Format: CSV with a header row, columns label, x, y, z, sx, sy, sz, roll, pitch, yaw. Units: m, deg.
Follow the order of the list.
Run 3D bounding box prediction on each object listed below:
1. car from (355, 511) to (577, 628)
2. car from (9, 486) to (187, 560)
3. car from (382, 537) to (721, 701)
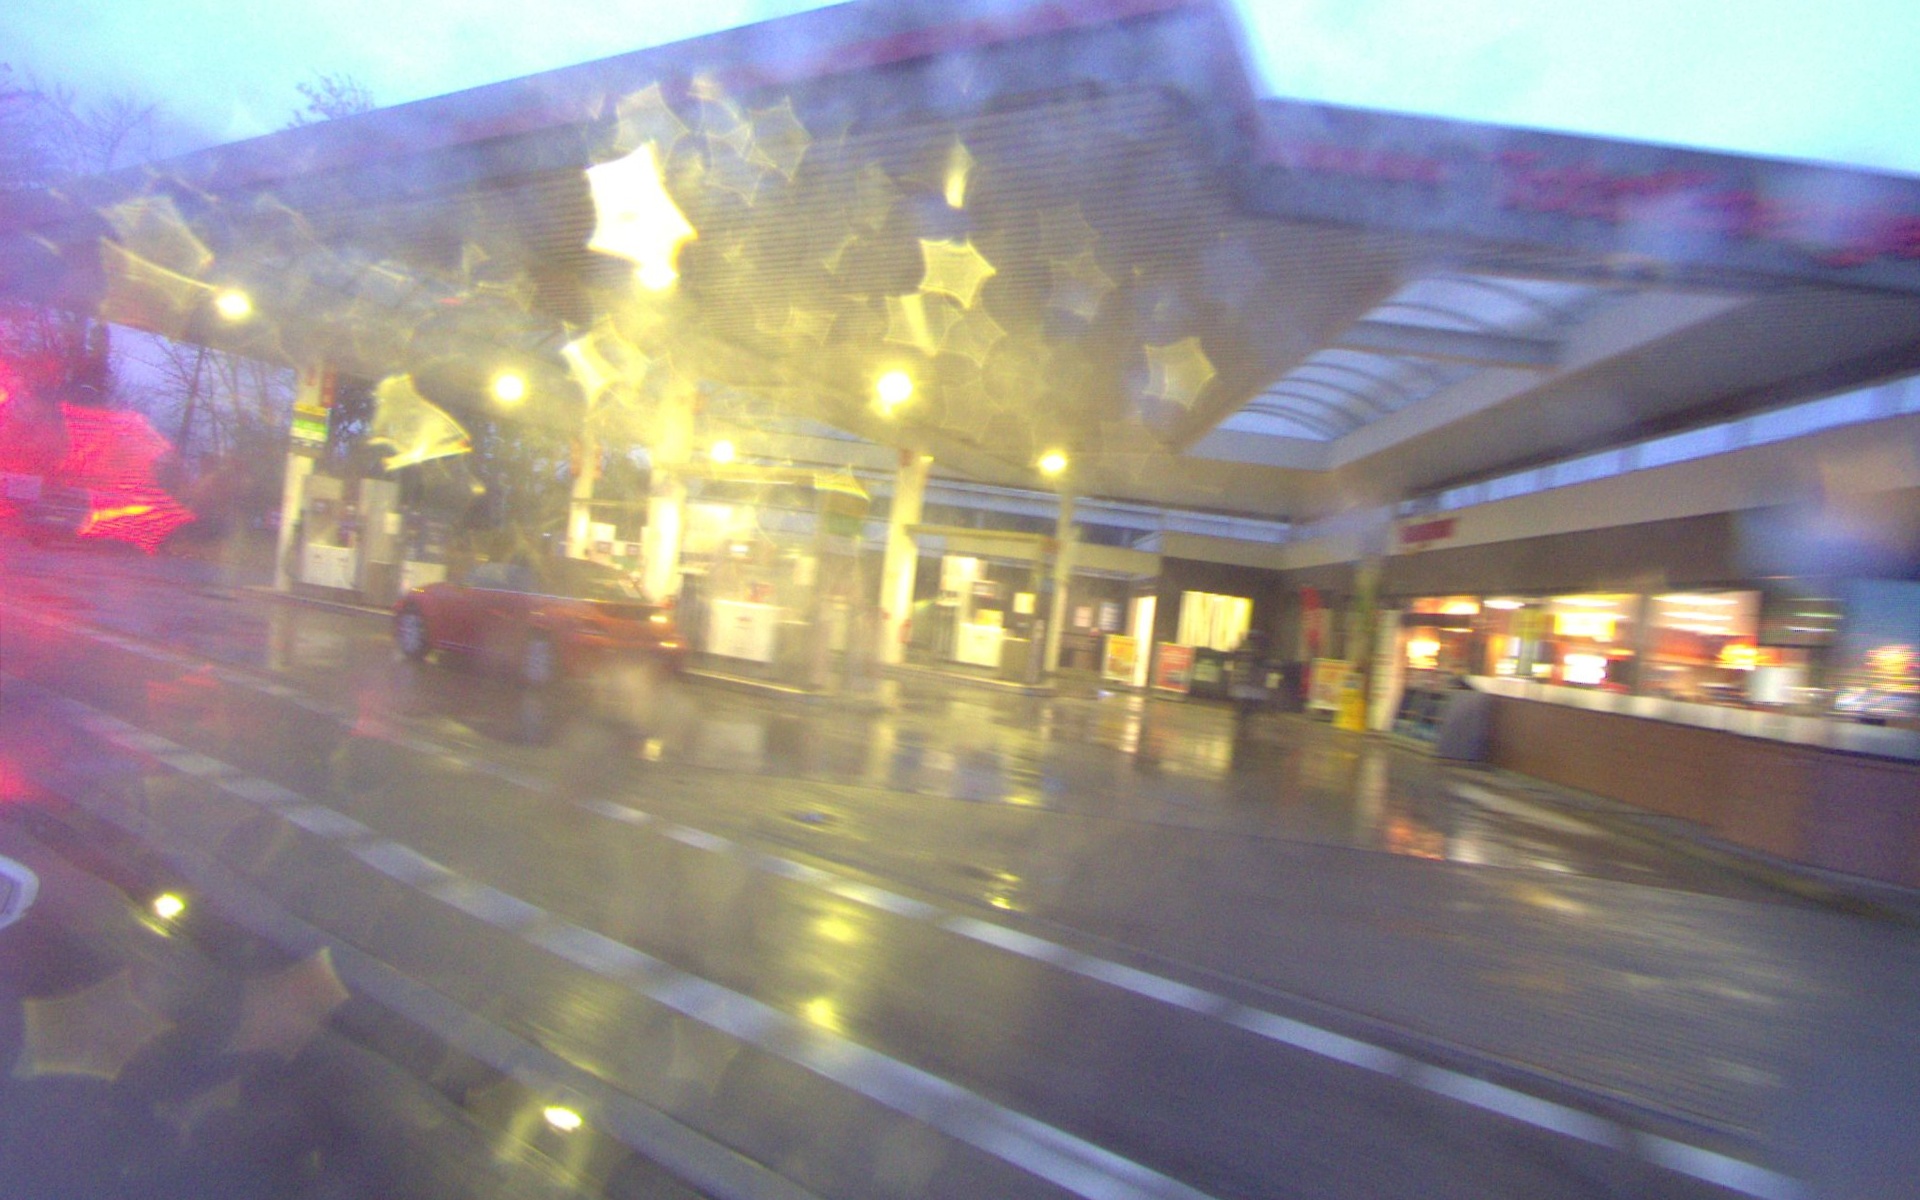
label,x,y,z,sx,sy,sz,roll,pitch,yaw
car,-10.166,-0.633,20.650,4.226,1.883,1.995,7,1,31
car,-25.404,-2.200,29.902,1.987,1.628,4.473,7,-1,-12
car,-5.022,0.177,12.195,4.098,1.414,1.574,7,1,31
